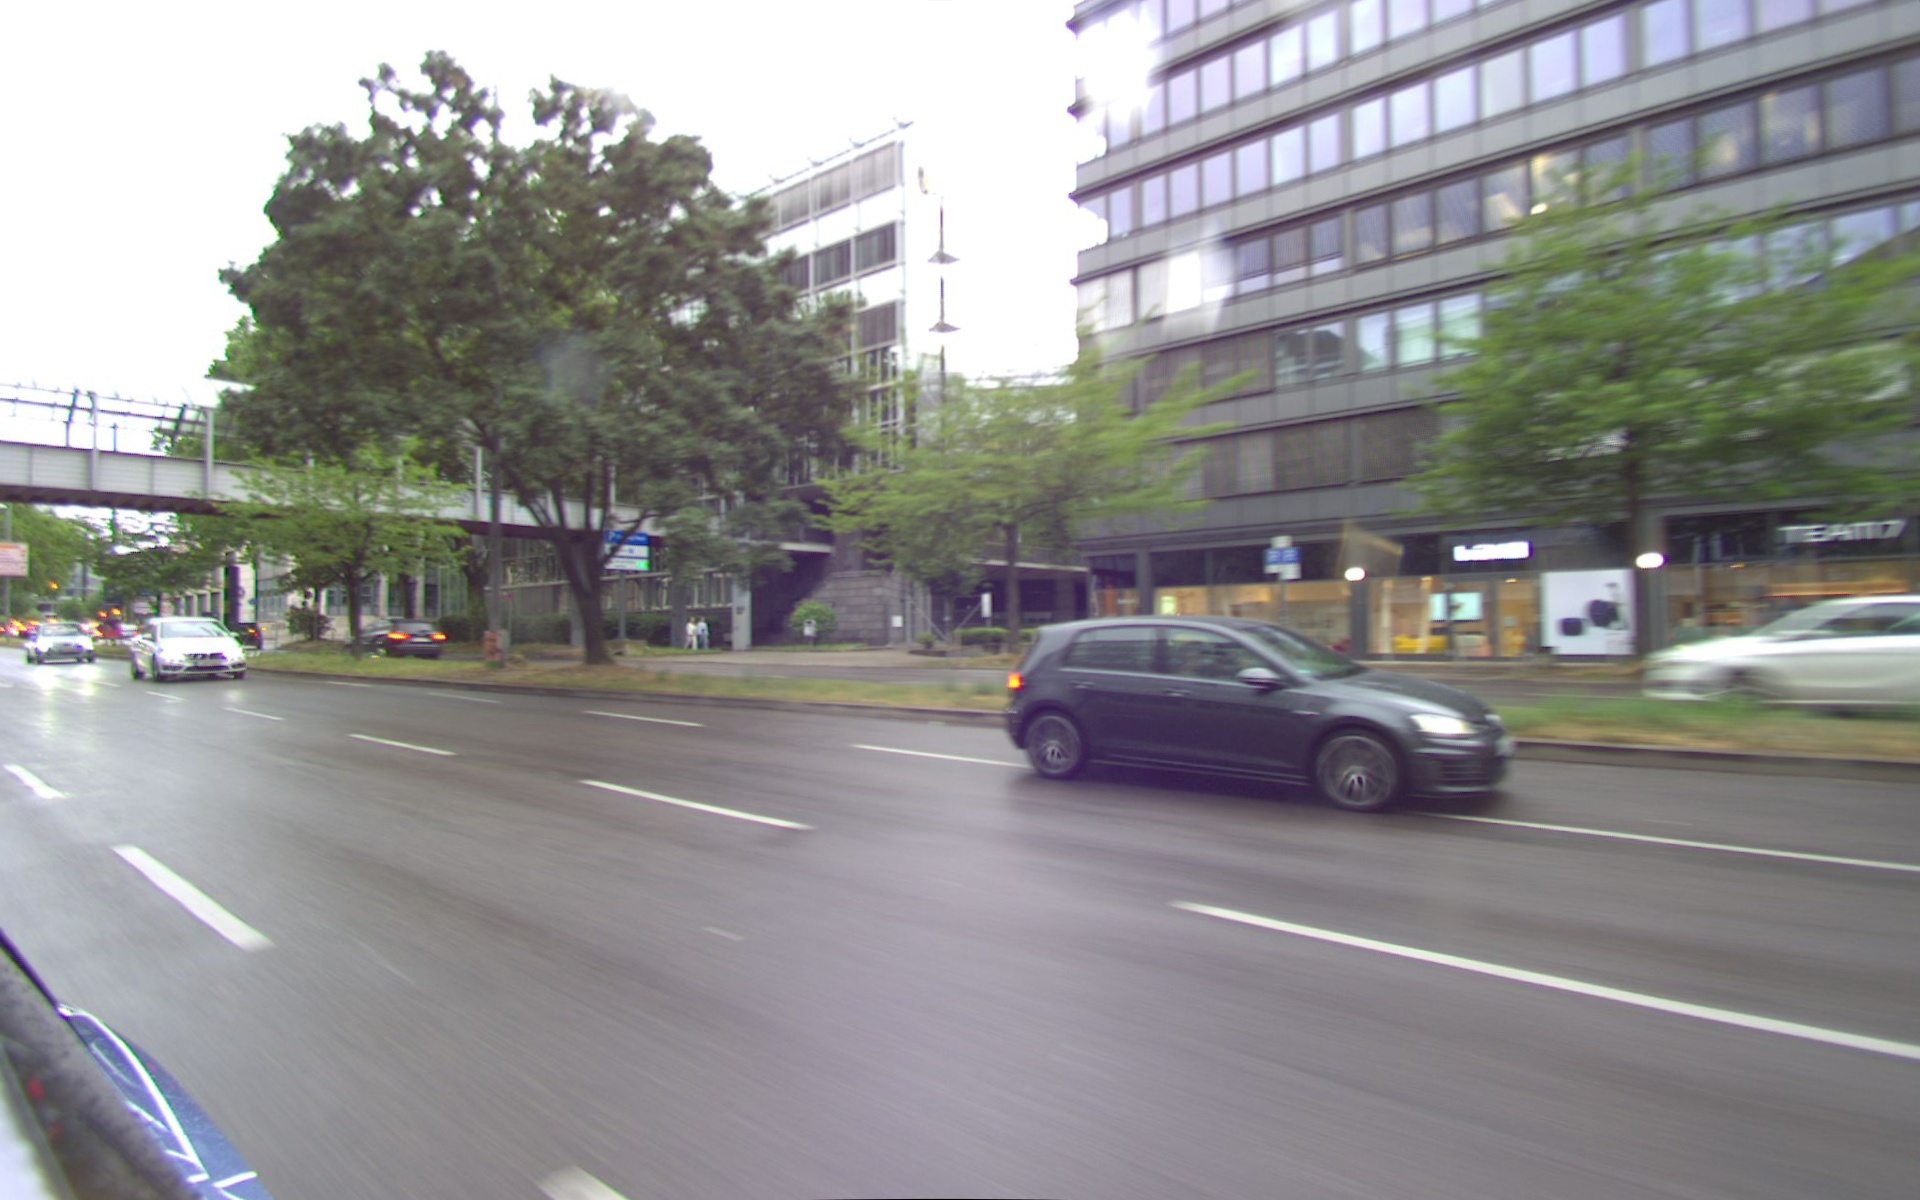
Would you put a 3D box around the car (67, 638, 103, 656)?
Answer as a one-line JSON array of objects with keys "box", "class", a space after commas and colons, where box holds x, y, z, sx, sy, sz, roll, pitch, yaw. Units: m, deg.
[{"box": [-75.559, 4.058, 87.386, 4.077, 1.475, 1.645, -1, -4, 39], "class": "car"}]

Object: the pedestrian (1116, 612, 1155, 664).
[{"box": [5.881, 1.262, 33.883, 1.056, 1.728, 0.735, -2, -2, 40], "class": "pedestrian"}]

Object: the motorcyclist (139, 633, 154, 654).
[{"box": [-55.388, 2.943, 68.926, 0.969, 1.429, 0.631, -1, -2, 41], "class": "motorcyclist"}]

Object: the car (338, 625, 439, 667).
[{"box": [-19.021, 1.494, 33.649, 3.611, 1.321, 1.609, -1, -2, 36], "class": "car"}]

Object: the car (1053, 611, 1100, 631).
[{"box": [8.886, 1.569, 76.998, 3.457, 1.434, 1.607, -1, -2, 12], "class": "car"}]

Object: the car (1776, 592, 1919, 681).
[{"box": [16.537, 0.607, 16.951, 4.441, 1.443, 1.607, -1, -2, 39], "class": "car"}]

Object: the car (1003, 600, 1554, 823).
[{"box": [2.560, 0.790, 8.633, 4.117, 1.463, 1.767, -2, -2, 38], "class": "car"}]

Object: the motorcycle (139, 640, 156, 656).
[{"box": [-55.341, 3.274, 68.904, 1.804, 1.029, 0.578, -2, -2, 42], "class": "motorcycle"}]

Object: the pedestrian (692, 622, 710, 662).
[{"box": [-12.009, 1.943, 46.988, 0.511, 1.821, 0.599, -3, -2, 41], "class": "pedestrian"}]

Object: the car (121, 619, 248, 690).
[{"box": [-19.425, 1.295, 25.305, 3.998, 1.608, 1.758, -1, -1, 41], "class": "car"}]

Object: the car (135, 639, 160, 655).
[{"box": [-78.117, 4.518, 97.301, 1.574, 1.426, 3.403, 1, -2, -44], "class": "car"}]

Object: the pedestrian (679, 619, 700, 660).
[{"box": [-12.414, 1.810, 46.450, 0.759, 1.821, 0.590, -3, -2, 41], "class": "pedestrian"}]

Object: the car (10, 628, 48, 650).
[{"box": [-78.187, 3.252, 84.966, 4.678, 1.693, 1.854, -1, -2, 41], "class": "car"}]

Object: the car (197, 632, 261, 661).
[{"box": [-47.422, 2.987, 65.634, 5.179, 1.782, 1.980, -2, -5, 39], "class": "car"}]

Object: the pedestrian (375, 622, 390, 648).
[{"box": [-40.360, 2.465, 70.737, 0.802, 1.821, 0.727, -3, -2, 41], "class": "pedestrian"}]

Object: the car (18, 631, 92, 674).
[{"box": [-33.719, 1.911, 37.686, 3.491, 1.452, 1.591, -1, 0, 40], "class": "car"}]

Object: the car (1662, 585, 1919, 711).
[{"box": [11.678, 0.590, 12.964, 4.302, 1.503, 1.607, -1, -2, 39], "class": "car"}]
